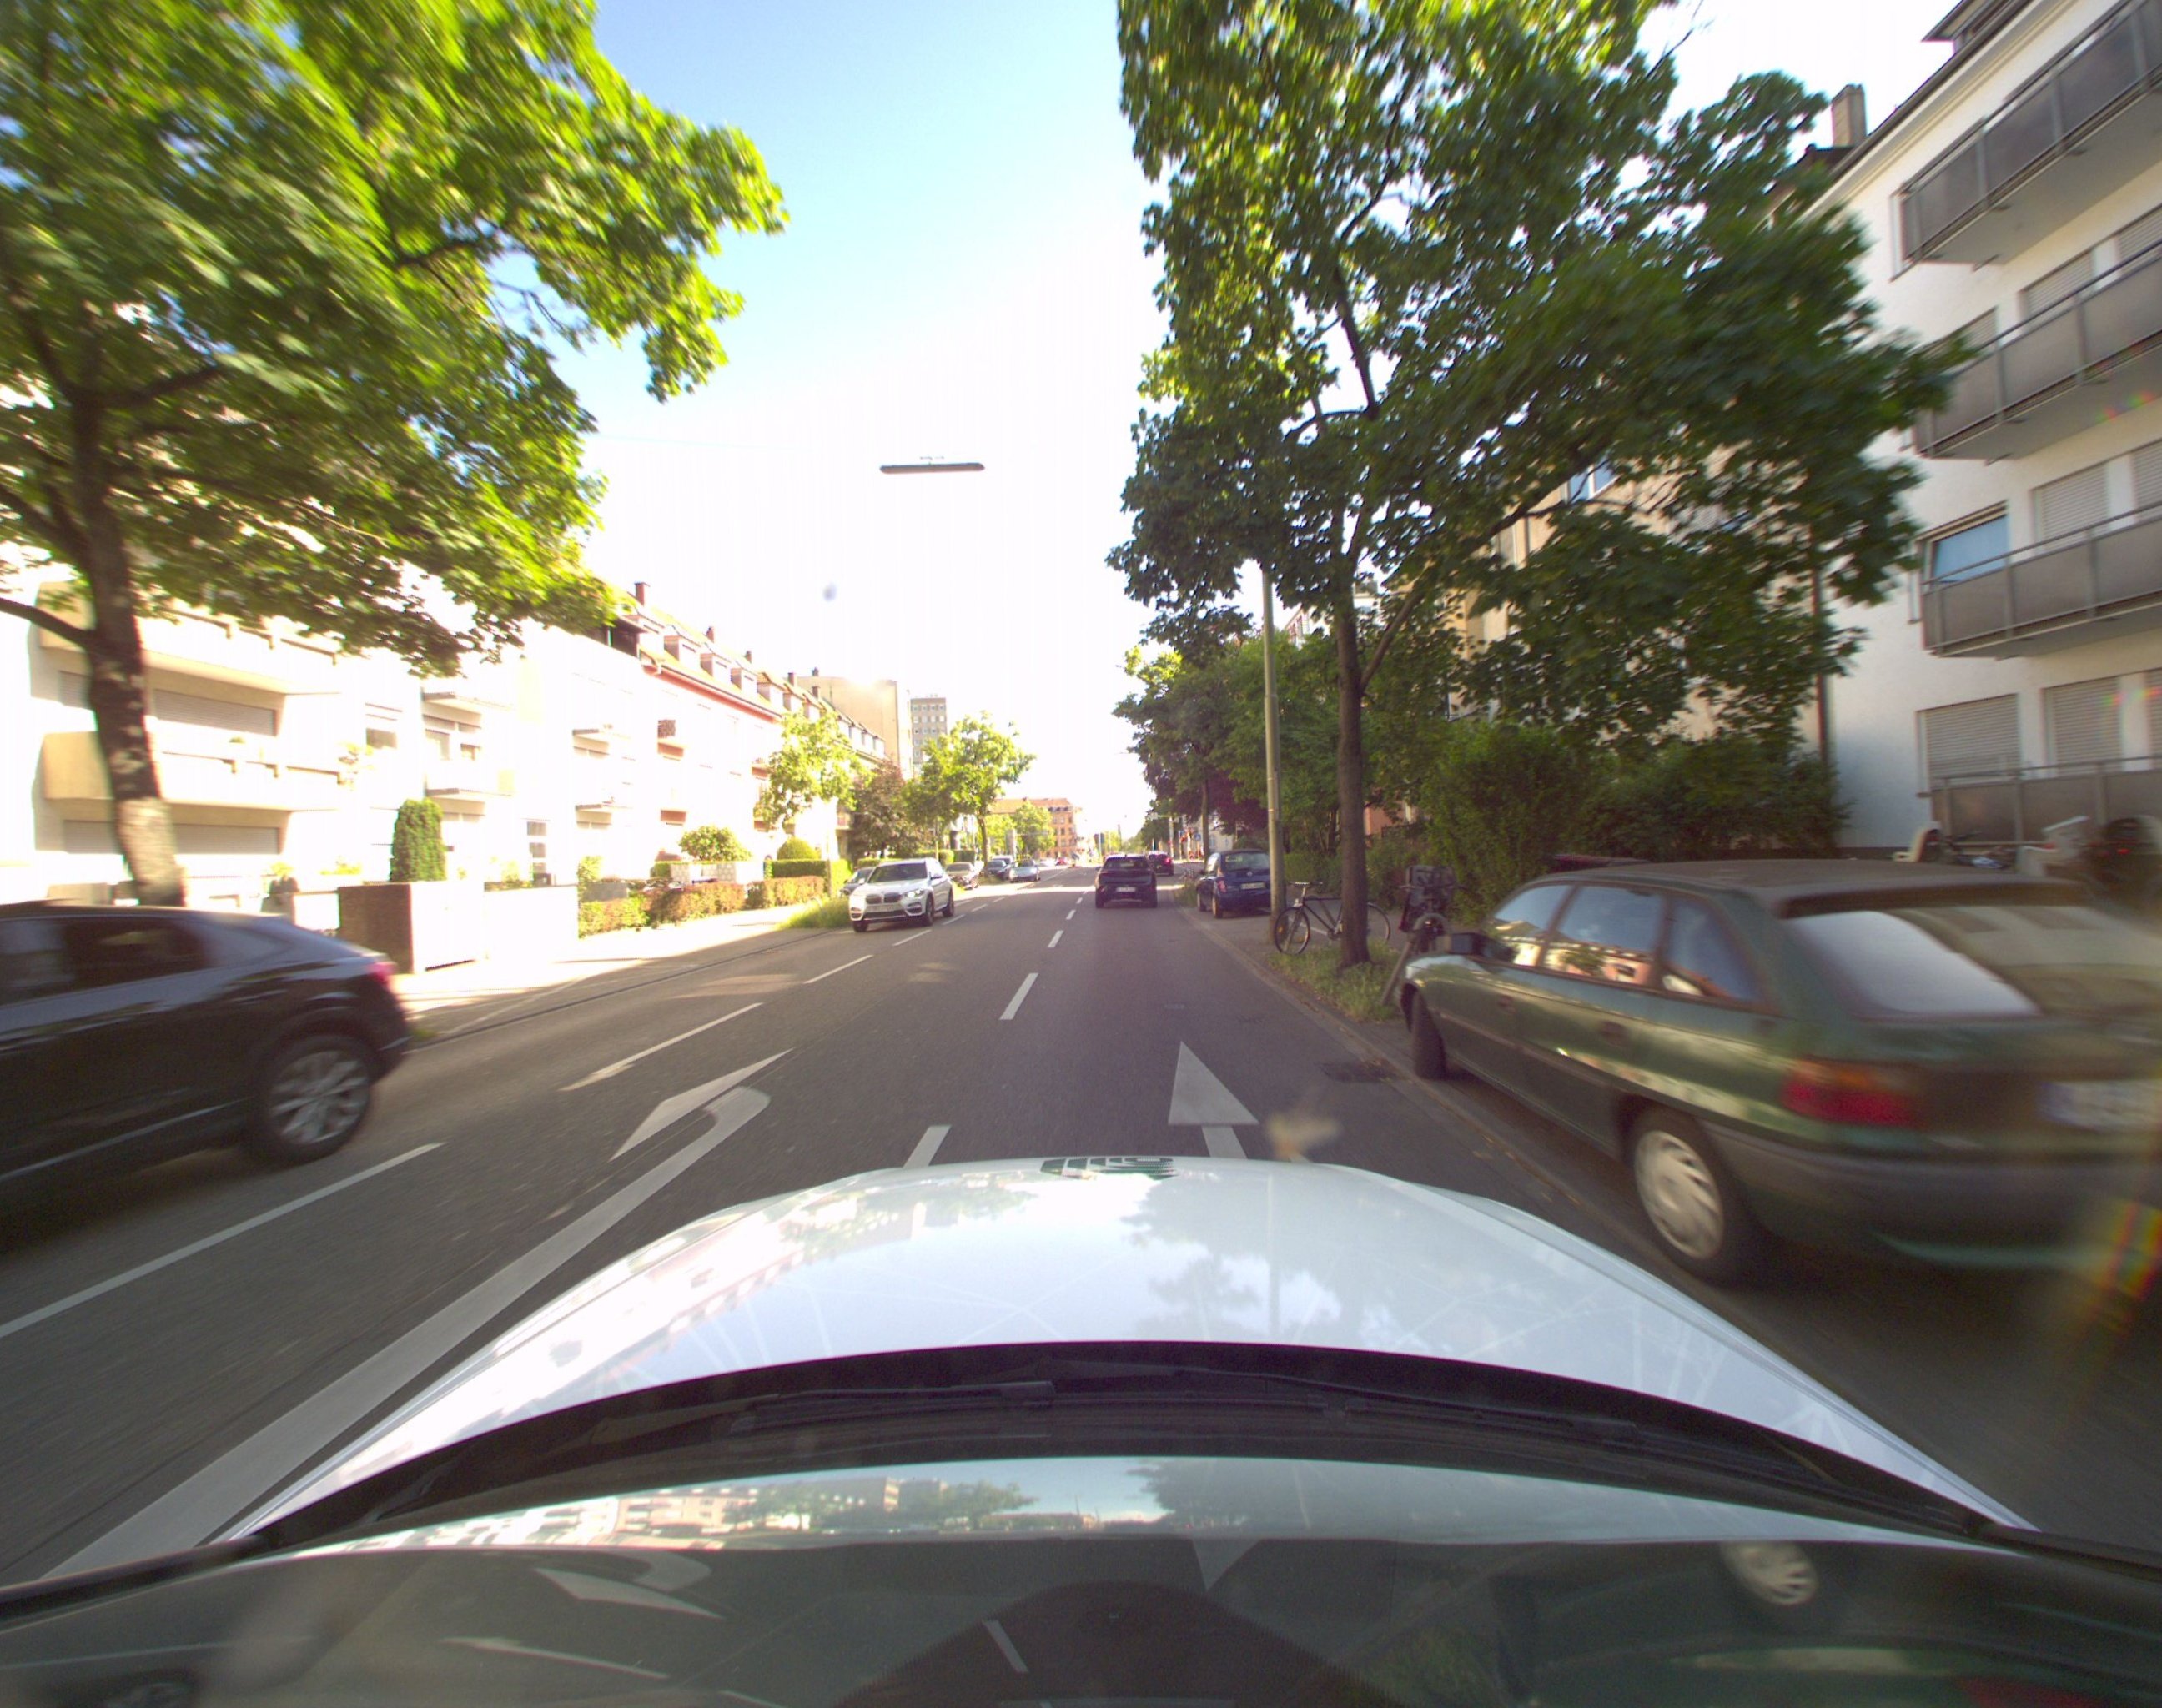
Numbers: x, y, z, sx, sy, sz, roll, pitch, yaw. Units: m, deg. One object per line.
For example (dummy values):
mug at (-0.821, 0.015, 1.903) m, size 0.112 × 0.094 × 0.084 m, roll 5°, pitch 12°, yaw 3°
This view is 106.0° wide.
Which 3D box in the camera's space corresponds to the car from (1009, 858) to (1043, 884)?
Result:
car at (-3.467, 1.056, 52.040) m, size 1.731 × 1.381 × 3.937 m, roll -4°, pitch 0°, yaw 1°

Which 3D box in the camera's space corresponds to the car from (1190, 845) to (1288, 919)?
car at (3.729, 0.617, 19.783) m, size 1.554 × 1.515 × 3.654 m, roll -5°, pitch 0°, yaw 0°

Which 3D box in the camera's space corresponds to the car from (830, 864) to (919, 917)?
car at (-6.936, 1.165, 27.832) m, size 1.779 × 1.493 × 4.493 m, roll -2°, pitch 0°, yaw 1°

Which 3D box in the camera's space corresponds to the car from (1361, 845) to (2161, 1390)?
car at (2.870, 0.705, 4.160) m, size 1.605 × 1.383 × 3.978 m, roll -3°, pitch 0°, yaw 2°

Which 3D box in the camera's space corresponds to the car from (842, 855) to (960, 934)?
car at (-4.465, 0.940, 20.983) m, size 1.800 × 1.648 × 4.673 m, roll -5°, pitch 0°, yaw 1°

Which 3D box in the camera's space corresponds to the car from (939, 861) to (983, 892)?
car at (-6.352, 1.159, 43.383) m, size 1.763 × 1.408 × 4.363 m, roll -2°, pitch 0°, yaw -2°

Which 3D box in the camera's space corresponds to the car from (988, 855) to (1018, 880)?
car at (-6.023, 1.002, 63.420) m, size 1.813 × 1.834 × 4.561 m, roll -2°, pitch 0°, yaw 0°

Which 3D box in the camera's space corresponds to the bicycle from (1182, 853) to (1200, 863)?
bicycle at (13.029, 0.493, 96.520) m, size 2.035 × 1.061 × 0.618 m, roll -2°, pitch 0°, yaw -16°

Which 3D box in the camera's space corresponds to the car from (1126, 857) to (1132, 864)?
car at (13.241, 1.790, 224.952) m, size 1.853 × 1.660 × 4.003 m, roll 0°, pitch 0°, yaw 3°

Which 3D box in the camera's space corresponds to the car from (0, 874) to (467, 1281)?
car at (-5.208, 0.994, 3.456) m, size 1.713 × 1.566 × 4.344 m, roll -5°, pitch 0°, yaw 1°

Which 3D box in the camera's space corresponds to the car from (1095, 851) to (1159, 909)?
car at (1.341, 0.731, 24.456) m, size 1.739 × 1.573 × 3.559 m, roll -1°, pitch 0°, yaw 1°

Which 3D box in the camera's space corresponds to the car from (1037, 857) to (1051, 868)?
car at (-6.018, 1.400, 134.155) m, size 1.867 × 1.617 × 4.002 m, roll -3°, pitch 0°, yaw 2°

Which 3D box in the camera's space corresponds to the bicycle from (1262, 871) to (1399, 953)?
bicycle at (3.518, 0.820, 11.586) m, size 1.729 × 1.022 × 0.525 m, roll -5°, pitch -3°, yaw 9°

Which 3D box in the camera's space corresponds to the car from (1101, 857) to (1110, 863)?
car at (5.798, 1.378, 192.124) m, size 1.802 × 1.407 × 4.004 m, roll -3°, pitch 0°, yaw 3°

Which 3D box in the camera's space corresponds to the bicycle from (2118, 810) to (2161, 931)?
bicycle at (11.765, 0.116, 8.183) m, size 1.520 × 1.222 × 0.466 m, roll -6°, pitch 0°, yaw 32°

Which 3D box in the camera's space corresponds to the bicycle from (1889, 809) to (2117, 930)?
bicycle at (11.117, 0.170, 9.932) m, size 0.620 × 1.287 × 1.843 m, roll -5°, pitch 0°, yaw 2°

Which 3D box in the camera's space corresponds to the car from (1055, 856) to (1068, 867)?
car at (-3.123, 1.147, 132.126) m, size 1.784 × 1.617 × 4.002 m, roll -3°, pitch 0°, yaw 2°

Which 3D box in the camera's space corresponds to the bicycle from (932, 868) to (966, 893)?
bicycle at (-6.487, 1.313, 40.105) m, size 1.538 × 1.134 × 0.548 m, roll -3°, pitch 0°, yaw 0°

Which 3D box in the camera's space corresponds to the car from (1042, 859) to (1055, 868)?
car at (-5.878, 1.728, 147.697) m, size 1.867 × 1.448 × 4.002 m, roll -3°, pitch 0°, yaw 2°

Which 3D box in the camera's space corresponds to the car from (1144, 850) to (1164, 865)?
car at (7.702, 0.331, 86.490) m, size 1.823 × 1.452 × 3.990 m, roll -3°, pitch 0°, yaw 2°

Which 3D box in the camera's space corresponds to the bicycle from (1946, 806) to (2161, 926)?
bicycle at (11.715, 0.132, 9.878) m, size 0.589 × 1.287 × 1.690 m, roll -5°, pitch 0°, yaw 2°

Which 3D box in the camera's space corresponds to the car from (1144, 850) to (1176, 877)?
car at (5.127, 0.600, 53.269) m, size 1.823 × 1.578 × 3.841 m, roll -3°, pitch 0°, yaw 2°

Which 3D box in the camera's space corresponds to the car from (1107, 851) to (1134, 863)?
car at (5.404, 0.411, 111.919) m, size 1.785 × 1.452 × 3.842 m, roll -3°, pitch 0°, yaw -36°

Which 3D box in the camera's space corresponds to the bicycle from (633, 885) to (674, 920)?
bicycle at (-13.421, 1.517, 25.607) m, size 0.398 × 0.983 × 1.549 m, roll -3°, pitch 0°, yaw 2°

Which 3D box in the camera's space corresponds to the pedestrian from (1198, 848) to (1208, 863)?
pedestrian at (14.216, 0.146, 94.888) m, size 1.038 × 1.660 × 0.783 m, roll -3°, pitch 0°, yaw -2°

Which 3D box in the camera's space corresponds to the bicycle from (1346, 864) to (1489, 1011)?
bicycle at (3.303, 0.752, 7.923) m, size 1.676 × 1.237 × 0.466 m, roll -2°, pitch 0°, yaw -37°

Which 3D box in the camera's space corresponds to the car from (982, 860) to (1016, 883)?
car at (-5.654, 1.164, 56.458) m, size 1.664 × 1.456 × 4.113 m, roll -2°, pitch 0°, yaw 3°
